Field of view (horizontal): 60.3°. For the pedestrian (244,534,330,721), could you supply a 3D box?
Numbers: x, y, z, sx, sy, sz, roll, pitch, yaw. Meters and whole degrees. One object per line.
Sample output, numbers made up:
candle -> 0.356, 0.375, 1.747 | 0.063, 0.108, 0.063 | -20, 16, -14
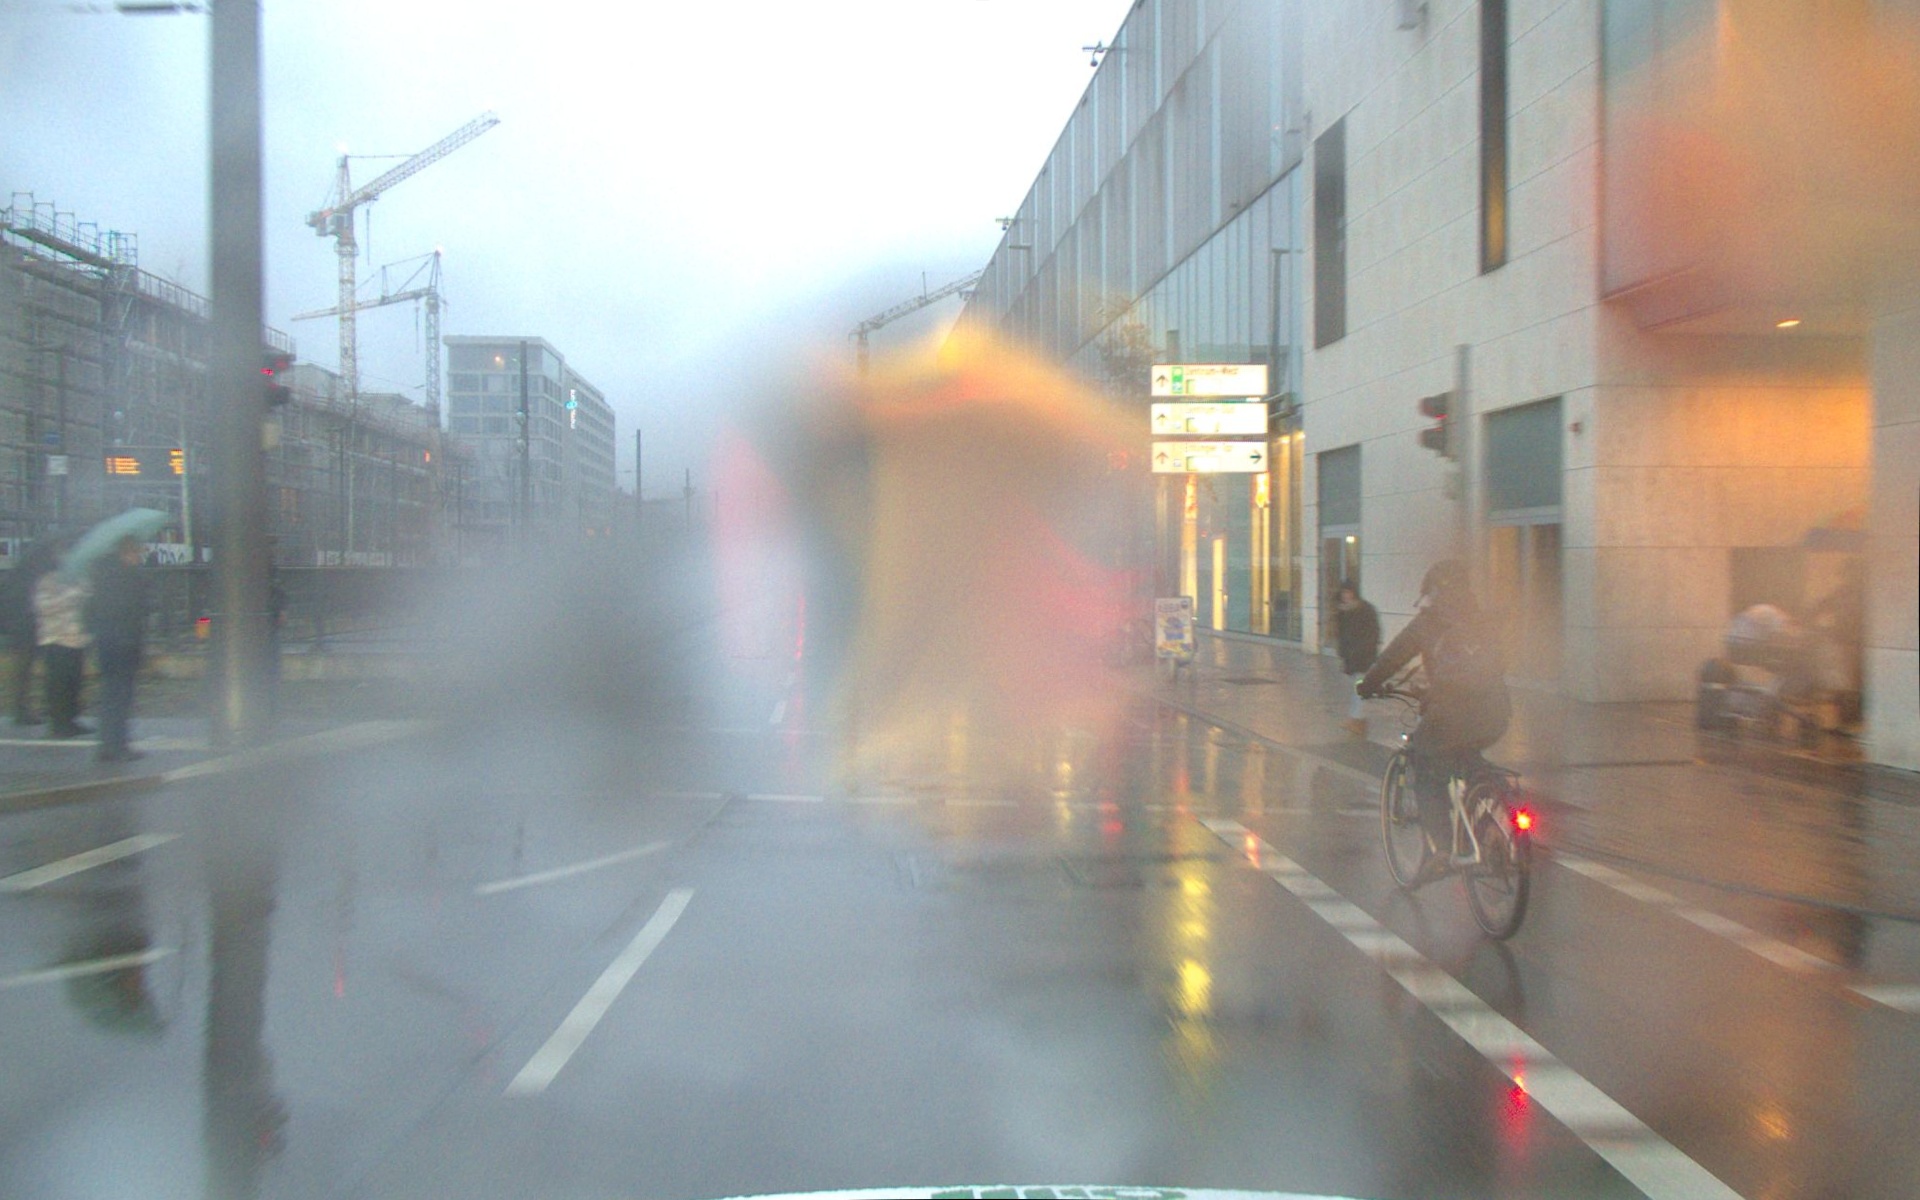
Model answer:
pedestrian -> -6.480, 0.247, 15.907 | 0.645, 1.747, 0.742 | 0, 1, -32

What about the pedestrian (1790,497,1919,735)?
pedestrian -> 8.449, 0.140, 15.598 | 0.943, 2.199, 0.581 | 0, 1, 6

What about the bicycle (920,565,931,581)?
bicycle -> -2.775, -2.172, 132.541 | 0.669, 1.243, 1.903 | -3, 1, -6

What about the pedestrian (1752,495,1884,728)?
pedestrian -> 8.398, 0.101, 16.221 | 0.938, 2.230, 0.711 | 0, 1, 6

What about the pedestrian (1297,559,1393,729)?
pedestrian -> 4.035, 0.439, 17.353 | 0.694, 1.724, 0.721 | -2, 1, -17

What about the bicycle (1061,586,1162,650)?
bicycle -> 2.983, 0.353, 32.644 | 1.866, 1.195, 0.666 | -2, 1, -6

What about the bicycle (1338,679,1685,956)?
bicycle -> 2.546, 0.957, 7.988 | 0.923, 1.017, 2.240 | 1, 0, 0

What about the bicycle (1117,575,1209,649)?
bicycle -> 3.638, 0.205, 29.718 | 1.532, 1.283, 0.662 | 2, 1, 43

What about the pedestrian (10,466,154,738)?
pedestrian -> -7.612, 0.005, 14.328 | 1.039, 2.246, 0.947 | 0, 1, -32

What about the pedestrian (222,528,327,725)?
pedestrian -> -6.319, 0.237, 15.259 | 0.653, 1.765, 0.604 | 0, 0, 31

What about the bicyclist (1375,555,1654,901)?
bicyclist -> 2.536, 0.546, 7.702 | 0.923, 1.488, 1.066 | 1, 1, 0

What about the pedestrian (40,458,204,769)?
pedestrian -> -6.162, 0.089, 12.226 | 0.889, 2.183, 1.014 | 1, 1, -17

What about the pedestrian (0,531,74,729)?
pedestrian -> -8.493, 0.255, 14.901 | 0.850, 1.744, 0.756 | 0, 1, -32
